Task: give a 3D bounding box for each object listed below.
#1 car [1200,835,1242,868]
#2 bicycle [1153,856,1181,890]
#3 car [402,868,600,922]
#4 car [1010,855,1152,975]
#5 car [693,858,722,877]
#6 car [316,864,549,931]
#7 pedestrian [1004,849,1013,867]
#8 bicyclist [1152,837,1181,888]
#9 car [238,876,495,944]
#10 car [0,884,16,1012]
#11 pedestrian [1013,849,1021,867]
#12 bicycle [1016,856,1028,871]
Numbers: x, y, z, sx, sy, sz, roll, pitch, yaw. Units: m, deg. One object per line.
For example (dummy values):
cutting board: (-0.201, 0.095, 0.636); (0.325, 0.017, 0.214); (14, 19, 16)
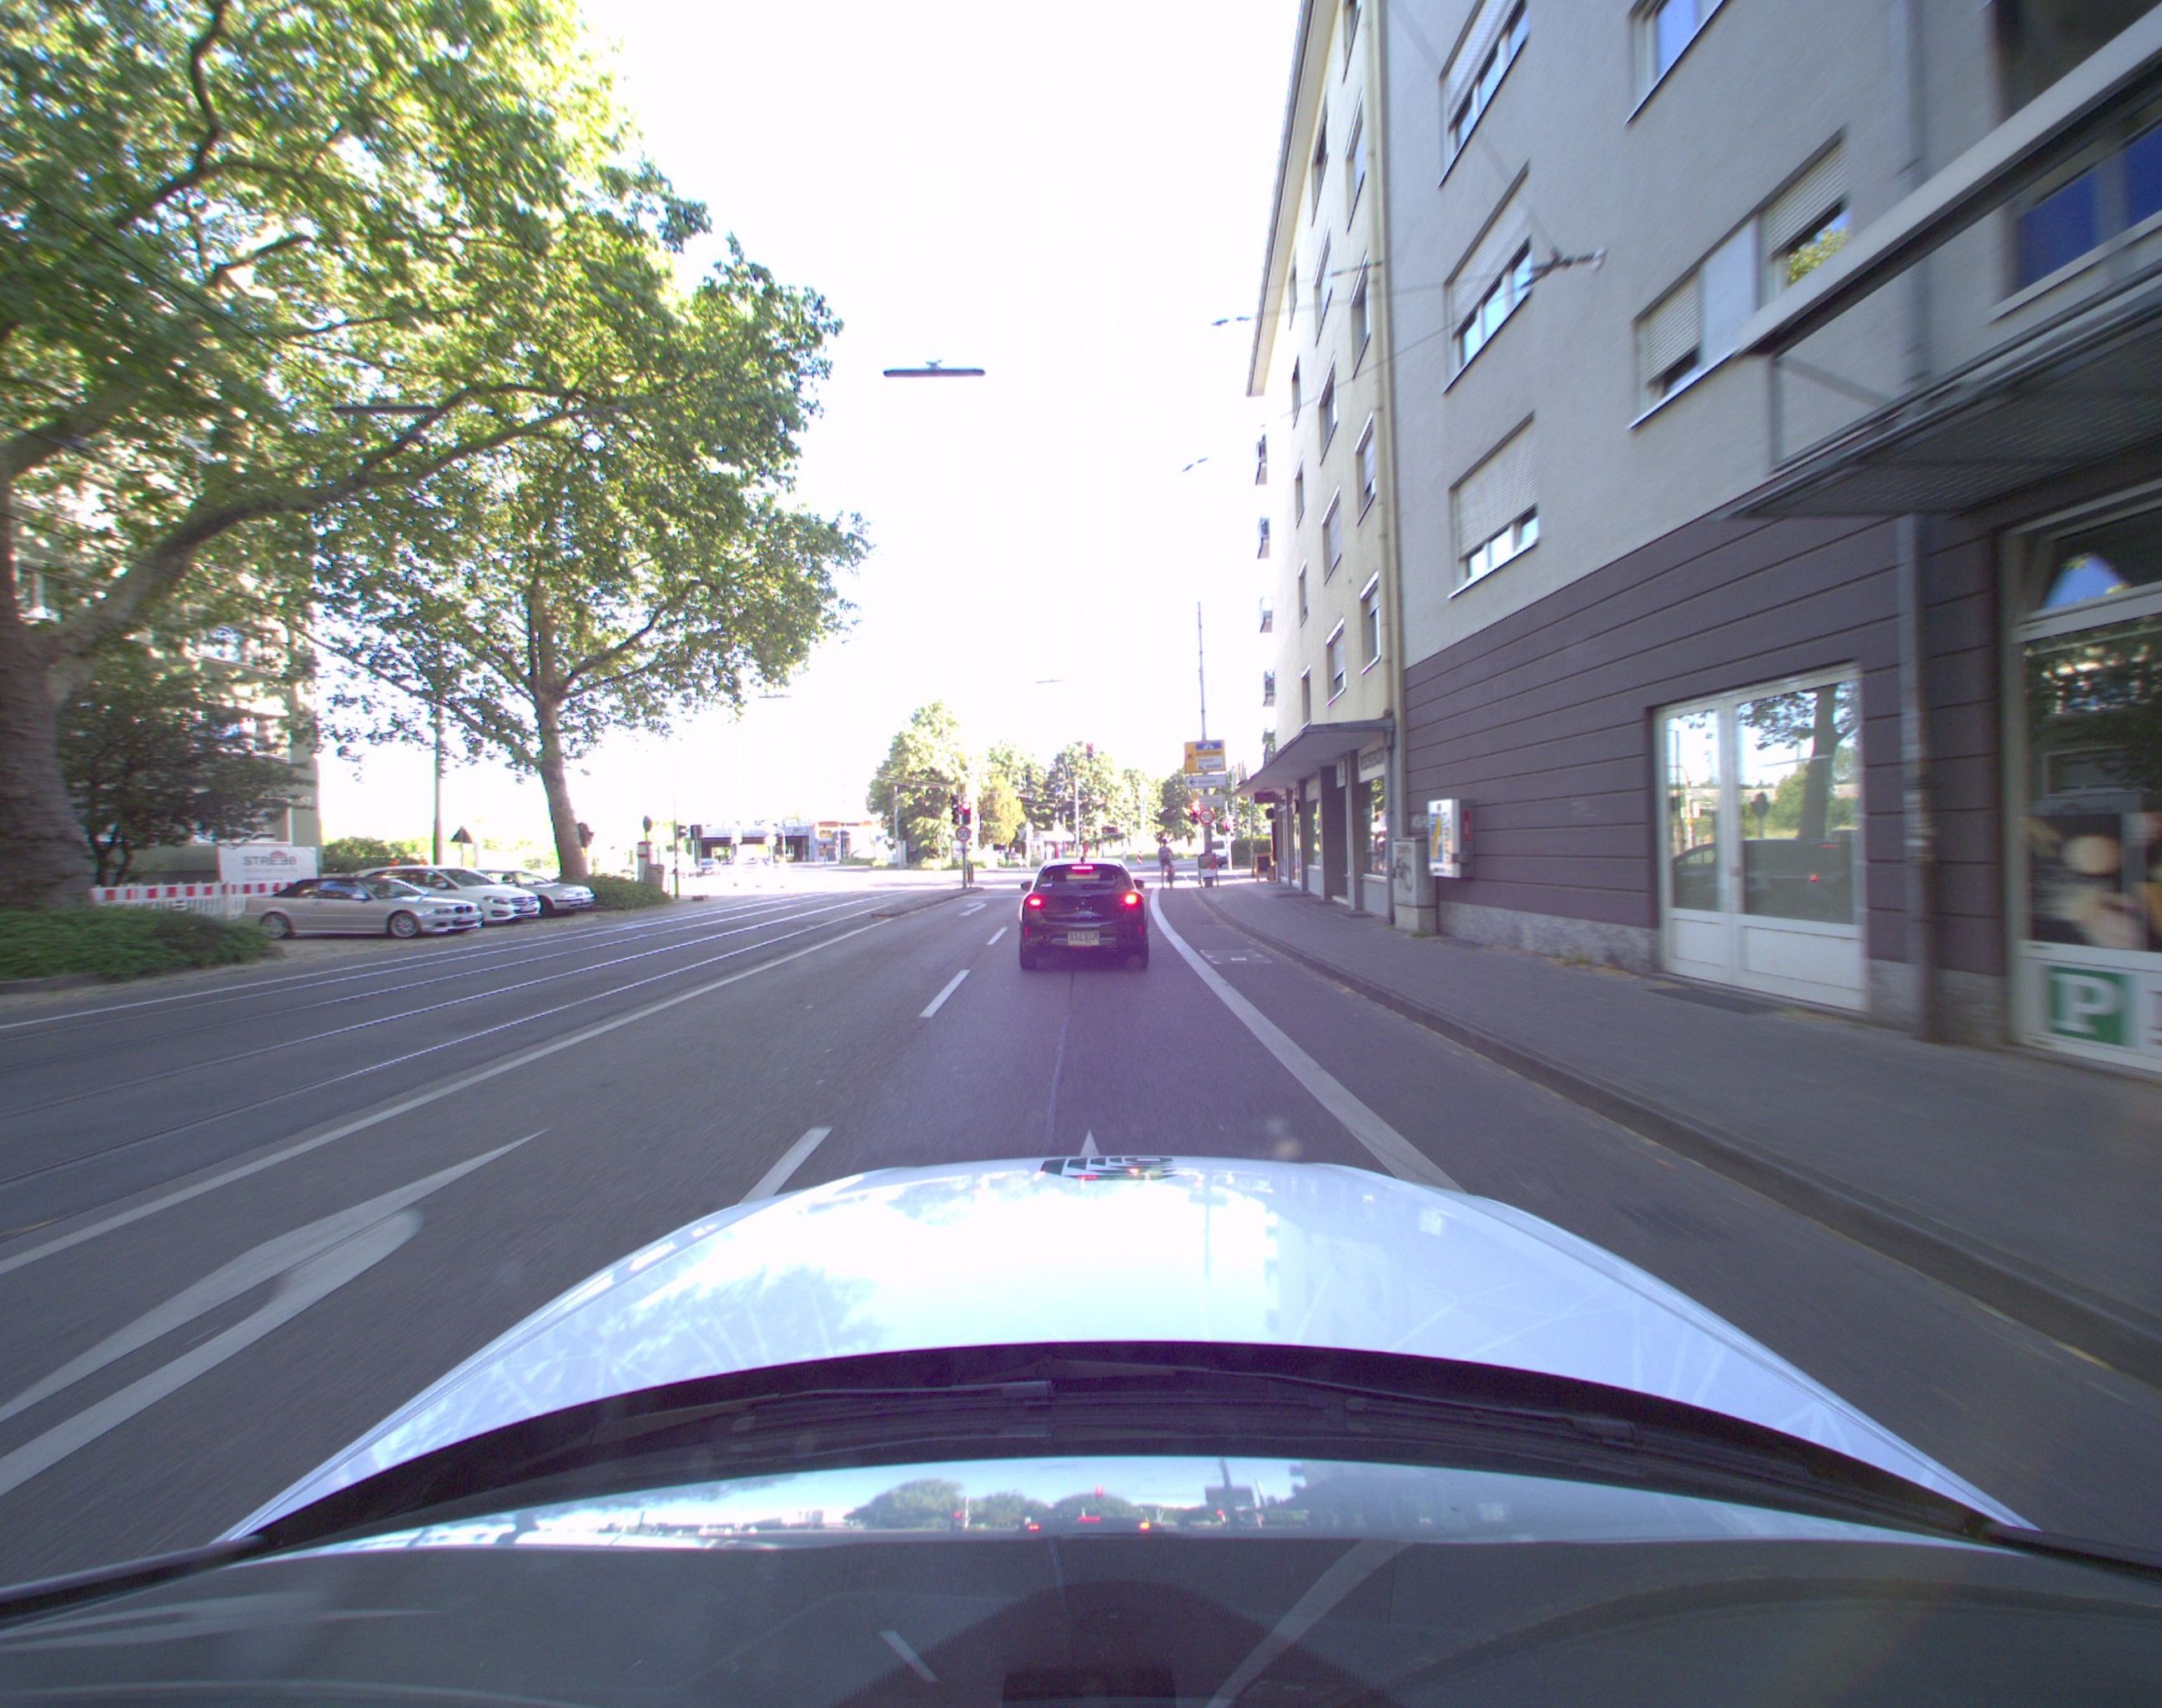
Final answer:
car: (10.174, -0.203, 58.831); (2.046, 2.248, 4.912); (-2, 0, 20)
bicycle: (3.197, 0.685, 30.451); (0.857, 1.153, 2.172); (-2, 0, 1)
car: (-16.763, 1.163, 23.681); (4.497, 1.429, 1.676); (0, 0, 0)
car: (0.066, 0.746, 12.057); (1.720, 1.429, 4.189); (-1, 0, 2)
car: (-31.309, 1.125, 68.346); (1.830, 1.519, 3.870); (0, 0, -19)
car: (-16.734, 1.098, 21.178); (4.594, 1.618, 1.798); (0, 0, 0)
pedestrian: (-6.746, 0.380, 75.911); (0.746, 1.630, 0.599); (0, -1, 8)
bicyclist: (3.182, 0.305, 30.438); (0.938, 1.851, 0.864); (-2, 0, 1)
car: (-16.038, 1.238, 18.437); (4.228, 1.368, 1.728); (-1, 0, -1)
car: (-15.693, 1.175, 9.497); (4.173, 1.605, 1.816); (0, 0, 1)
pedestrian: (-5.956, 0.382, 75.815); (0.633, 1.630, 0.573); (0, -1, 8)
bicycle: (-4.280, 0.682, 59.115); (0.603, 1.031, 1.983); (-2, 0, 2)
